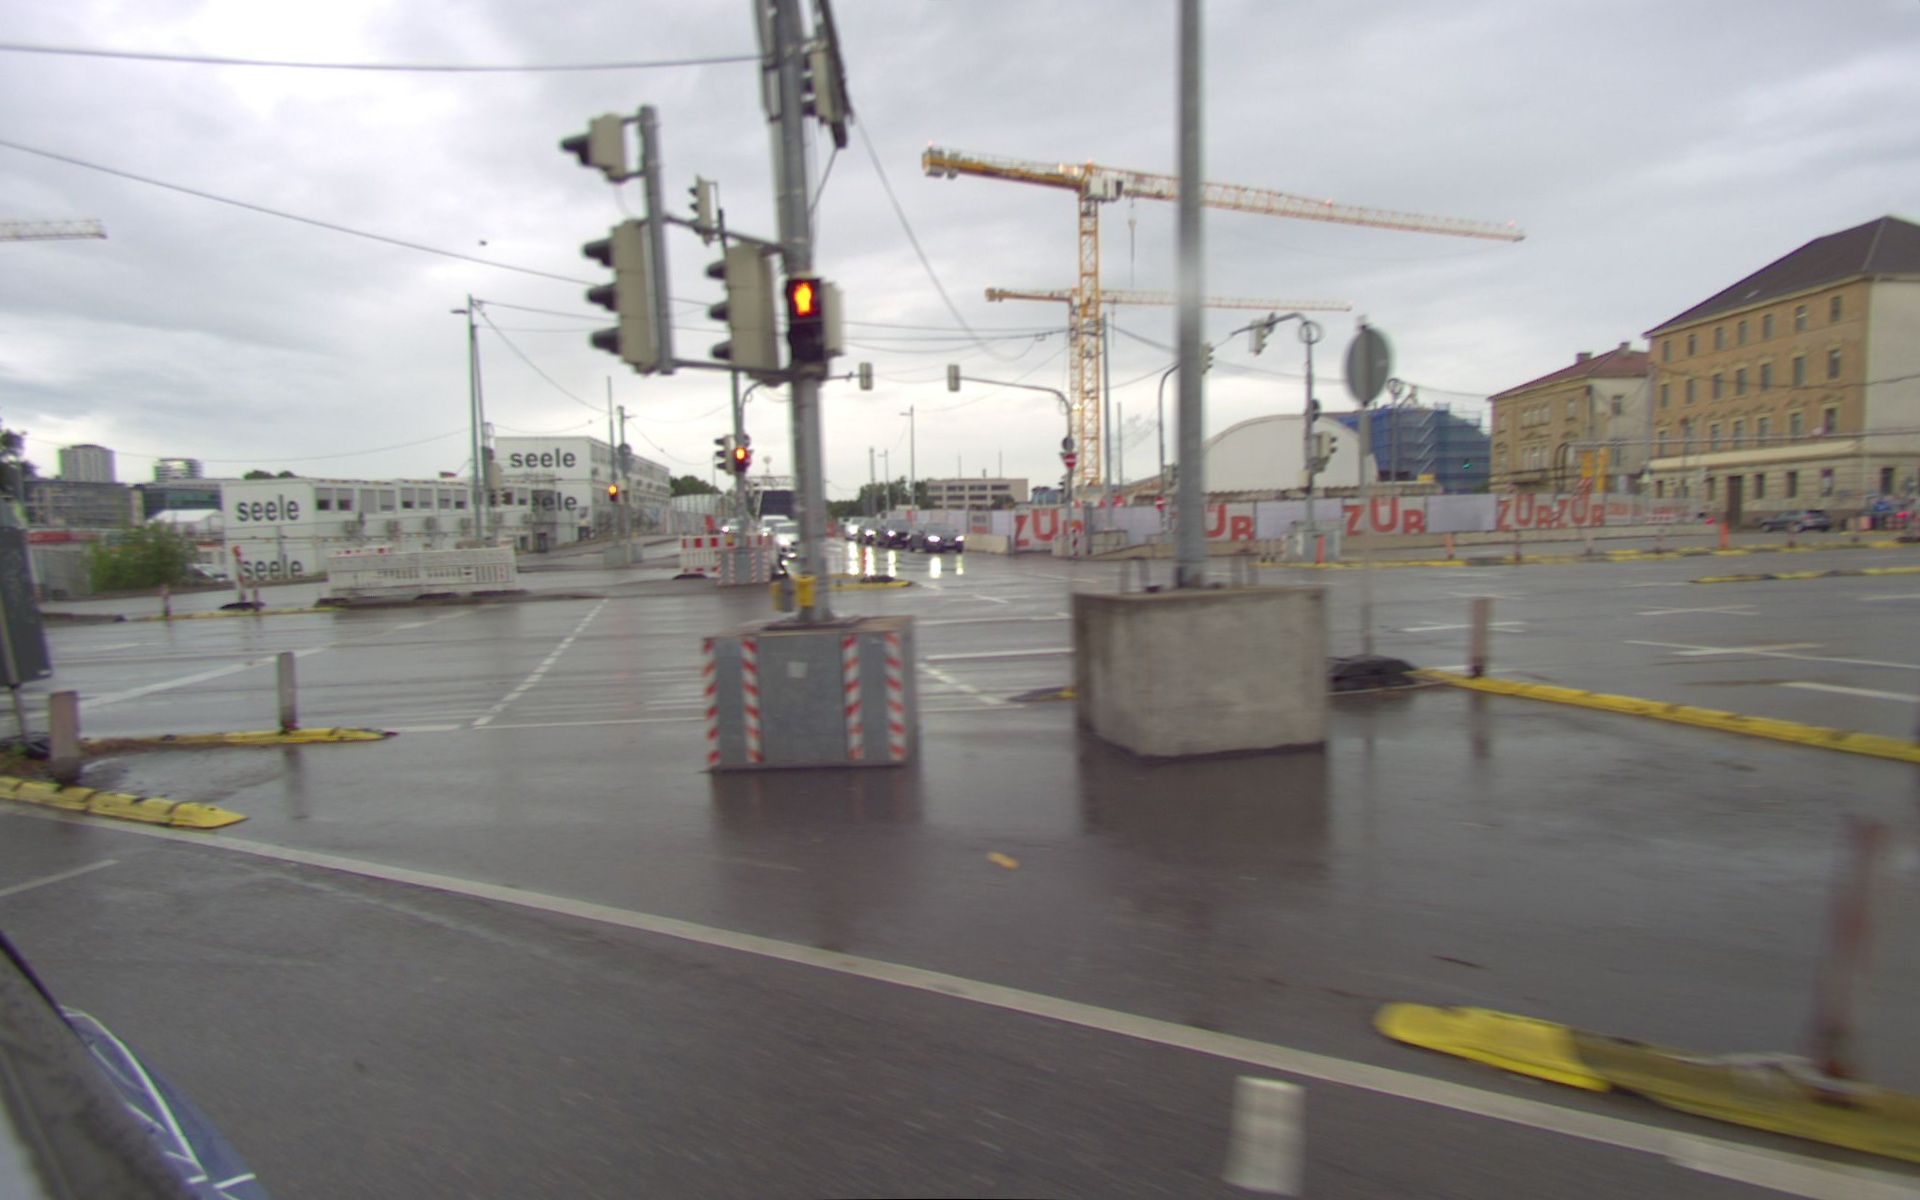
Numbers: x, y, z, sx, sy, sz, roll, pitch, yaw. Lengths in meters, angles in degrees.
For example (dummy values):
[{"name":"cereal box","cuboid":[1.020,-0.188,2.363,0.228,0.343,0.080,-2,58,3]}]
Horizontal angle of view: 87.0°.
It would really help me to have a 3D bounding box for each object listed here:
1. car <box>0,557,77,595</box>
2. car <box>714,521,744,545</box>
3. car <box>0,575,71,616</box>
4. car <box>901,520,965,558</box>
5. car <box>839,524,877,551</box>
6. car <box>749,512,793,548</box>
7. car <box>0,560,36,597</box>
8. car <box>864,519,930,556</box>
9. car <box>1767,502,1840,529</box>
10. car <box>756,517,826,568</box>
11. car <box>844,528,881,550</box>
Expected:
[{"name":"car","cuboid":[-64.973,-1.672,70.492,4.869,2.401,2.005,-6,5,-35]},{"name":"car","cuboid":[-18.757,-5.449,82.303,1.968,1.784,4.367,-4,4,-9]},{"name":"car","cuboid":[-42.861,-0.176,45.930,1.967,1.518,4.011,-4,5,-12]},{"name":"car","cuboid":[-1.287,-2.823,46.754,1.830,1.577,3.814,-5,4,-18]},{"name":"car","cuboid":[-6.684,-4.074,66.013,1.967,1.568,4.536,-4,4,-11]},{"name":"car","cuboid":[-10.374,-3.794,55.377,1.967,1.784,4.370,-4,4,-14]},{"name":"car","cuboid":[-64.913,-1.381,67.725,3.932,2.401,2.007,-5,4,-25]},{"name":"car","cuboid":[-3.308,-3.198,52.189,1.966,1.729,4.438,-5,4,-23]},{"name":"car","cuboid":[51.061,-5.136,61.342,1.629,1.474,3.414,-3,6,3]},{"name":"car","cuboid":[-7.558,-2.546,44.993,1.966,2.028,4.438,-5,4,-23]},{"name":"car","cuboid":[-5.770,-3.570,59.405,1.624,1.186,4.301,-3,4,-12]}]
